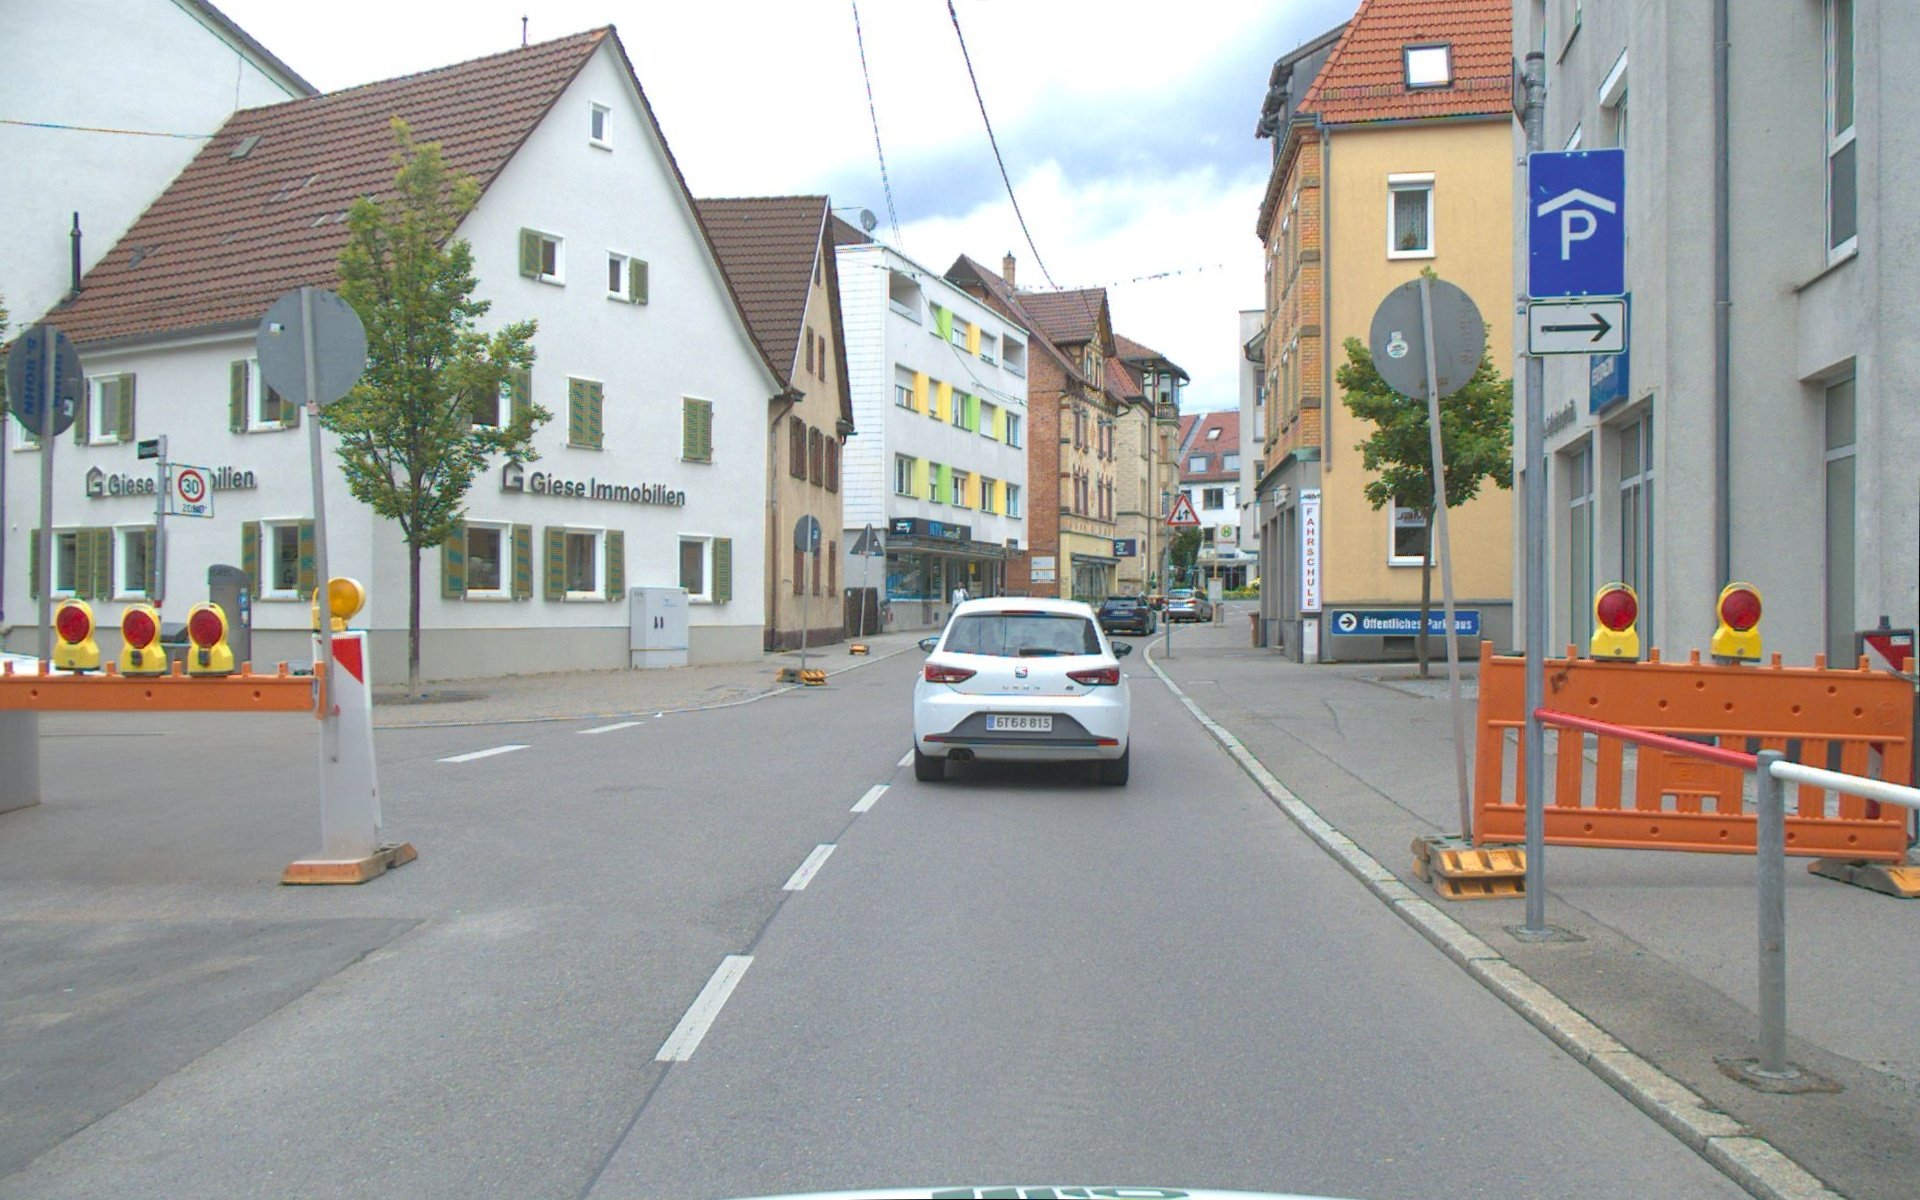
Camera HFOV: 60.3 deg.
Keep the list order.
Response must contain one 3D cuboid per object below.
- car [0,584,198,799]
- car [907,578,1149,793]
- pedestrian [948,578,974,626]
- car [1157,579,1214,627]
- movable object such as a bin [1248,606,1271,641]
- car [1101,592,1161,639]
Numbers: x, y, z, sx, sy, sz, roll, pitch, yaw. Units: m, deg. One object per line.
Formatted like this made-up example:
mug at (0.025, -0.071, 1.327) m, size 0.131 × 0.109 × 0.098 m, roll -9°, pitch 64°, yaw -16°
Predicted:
car at (-8.783, 0.621, 12.704) m, size 4.808 × 1.502 × 2.247 m, roll 1°, pitch 1°, yaw -6°
car at (0.663, 0.605, 14.224) m, size 1.773 × 1.506 × 3.873 m, roll 1°, pitch 2°, yaw 5°
pedestrian at (0.027, 0.055, 59.238) m, size 0.874 × 1.694 × 0.862 m, roll 0°, pitch 0°, yaw 3°
car at (10.054, 0.118, 73.570) m, size 1.951 × 2.049 × 4.003 m, roll 0°, pitch 0°, yaw 16°
movable object such as a bin at (8.133, 0.639, 44.955) m, size 0.606 × 0.937 × 0.582 m, roll 0°, pitch 0°, yaw 10°
car at (5.988, 0.516, 57.605) m, size 1.773 × 1.506 × 3.874 m, roll 0°, pitch 1°, yaw 11°
